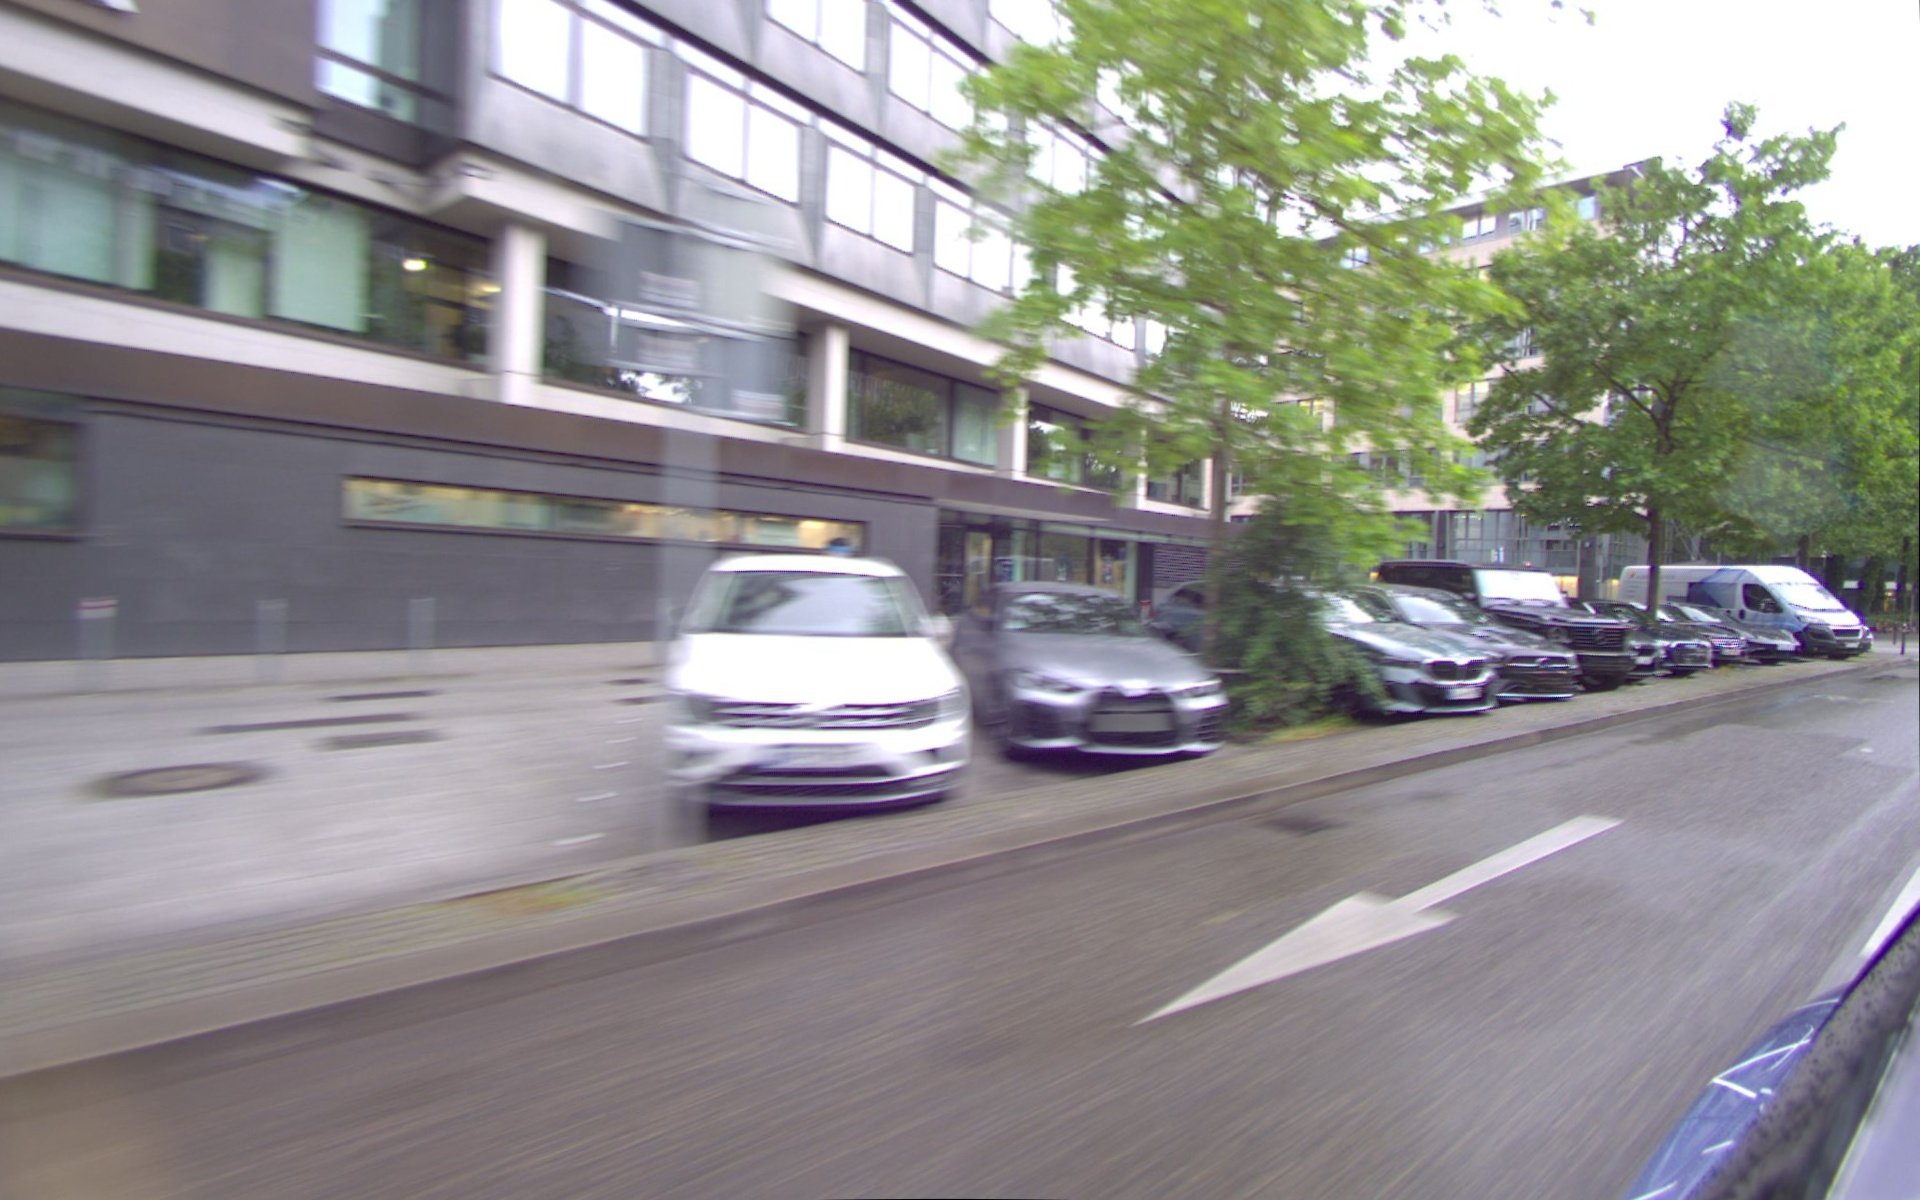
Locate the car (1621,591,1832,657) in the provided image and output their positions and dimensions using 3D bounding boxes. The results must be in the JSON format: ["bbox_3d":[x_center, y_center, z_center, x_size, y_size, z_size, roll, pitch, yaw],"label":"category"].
[{"bbox_3d":[18.882,0.539,25.187,1.673,1.442,4.070,1,1,-12],"label":"car"}]

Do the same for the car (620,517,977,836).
[{"bbox_3d":[-1.291,0.361,7.825,1.876,1.671,4.814,1,1,-11],"label":"car"}]

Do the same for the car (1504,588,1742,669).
[{"bbox_3d":[13.291,0.503,20.604,1.673,1.442,4.021,1,1,-12],"label":"car"}]

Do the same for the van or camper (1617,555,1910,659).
[{"bbox_3d":[21.527,0.113,27.643,2.267,2.477,6.278,1,1,-11],"label":"van or camper"}]

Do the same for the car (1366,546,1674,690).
[{"bbox_3d":[8.868,0.212,16.577,1.882,2.018,4.527,1,1,-12],"label":"car"}]

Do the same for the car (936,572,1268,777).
[{"bbox_3d":[1.015,0.504,9.823,1.877,1.492,4.731,1,1,-9],"label":"car"}]

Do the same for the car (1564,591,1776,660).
[{"bbox_3d":[16.706,0.548,24.079,1.673,1.442,4.070,1,1,-12],"label":"car"}]

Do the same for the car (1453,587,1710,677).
[{"bbox_3d":[11.249,0.512,18.693,1.700,1.442,4.070,1,1,-12],"label":"car"}]

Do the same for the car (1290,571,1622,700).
[{"bbox_3d":[6.834,0.392,14.594,1.876,1.557,4.401,1,1,-14],"label":"car"}]

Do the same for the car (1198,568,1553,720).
[{"bbox_3d":[4.871,0.412,12.678,1.876,1.557,4.367,1,1,-14],"label":"car"}]
